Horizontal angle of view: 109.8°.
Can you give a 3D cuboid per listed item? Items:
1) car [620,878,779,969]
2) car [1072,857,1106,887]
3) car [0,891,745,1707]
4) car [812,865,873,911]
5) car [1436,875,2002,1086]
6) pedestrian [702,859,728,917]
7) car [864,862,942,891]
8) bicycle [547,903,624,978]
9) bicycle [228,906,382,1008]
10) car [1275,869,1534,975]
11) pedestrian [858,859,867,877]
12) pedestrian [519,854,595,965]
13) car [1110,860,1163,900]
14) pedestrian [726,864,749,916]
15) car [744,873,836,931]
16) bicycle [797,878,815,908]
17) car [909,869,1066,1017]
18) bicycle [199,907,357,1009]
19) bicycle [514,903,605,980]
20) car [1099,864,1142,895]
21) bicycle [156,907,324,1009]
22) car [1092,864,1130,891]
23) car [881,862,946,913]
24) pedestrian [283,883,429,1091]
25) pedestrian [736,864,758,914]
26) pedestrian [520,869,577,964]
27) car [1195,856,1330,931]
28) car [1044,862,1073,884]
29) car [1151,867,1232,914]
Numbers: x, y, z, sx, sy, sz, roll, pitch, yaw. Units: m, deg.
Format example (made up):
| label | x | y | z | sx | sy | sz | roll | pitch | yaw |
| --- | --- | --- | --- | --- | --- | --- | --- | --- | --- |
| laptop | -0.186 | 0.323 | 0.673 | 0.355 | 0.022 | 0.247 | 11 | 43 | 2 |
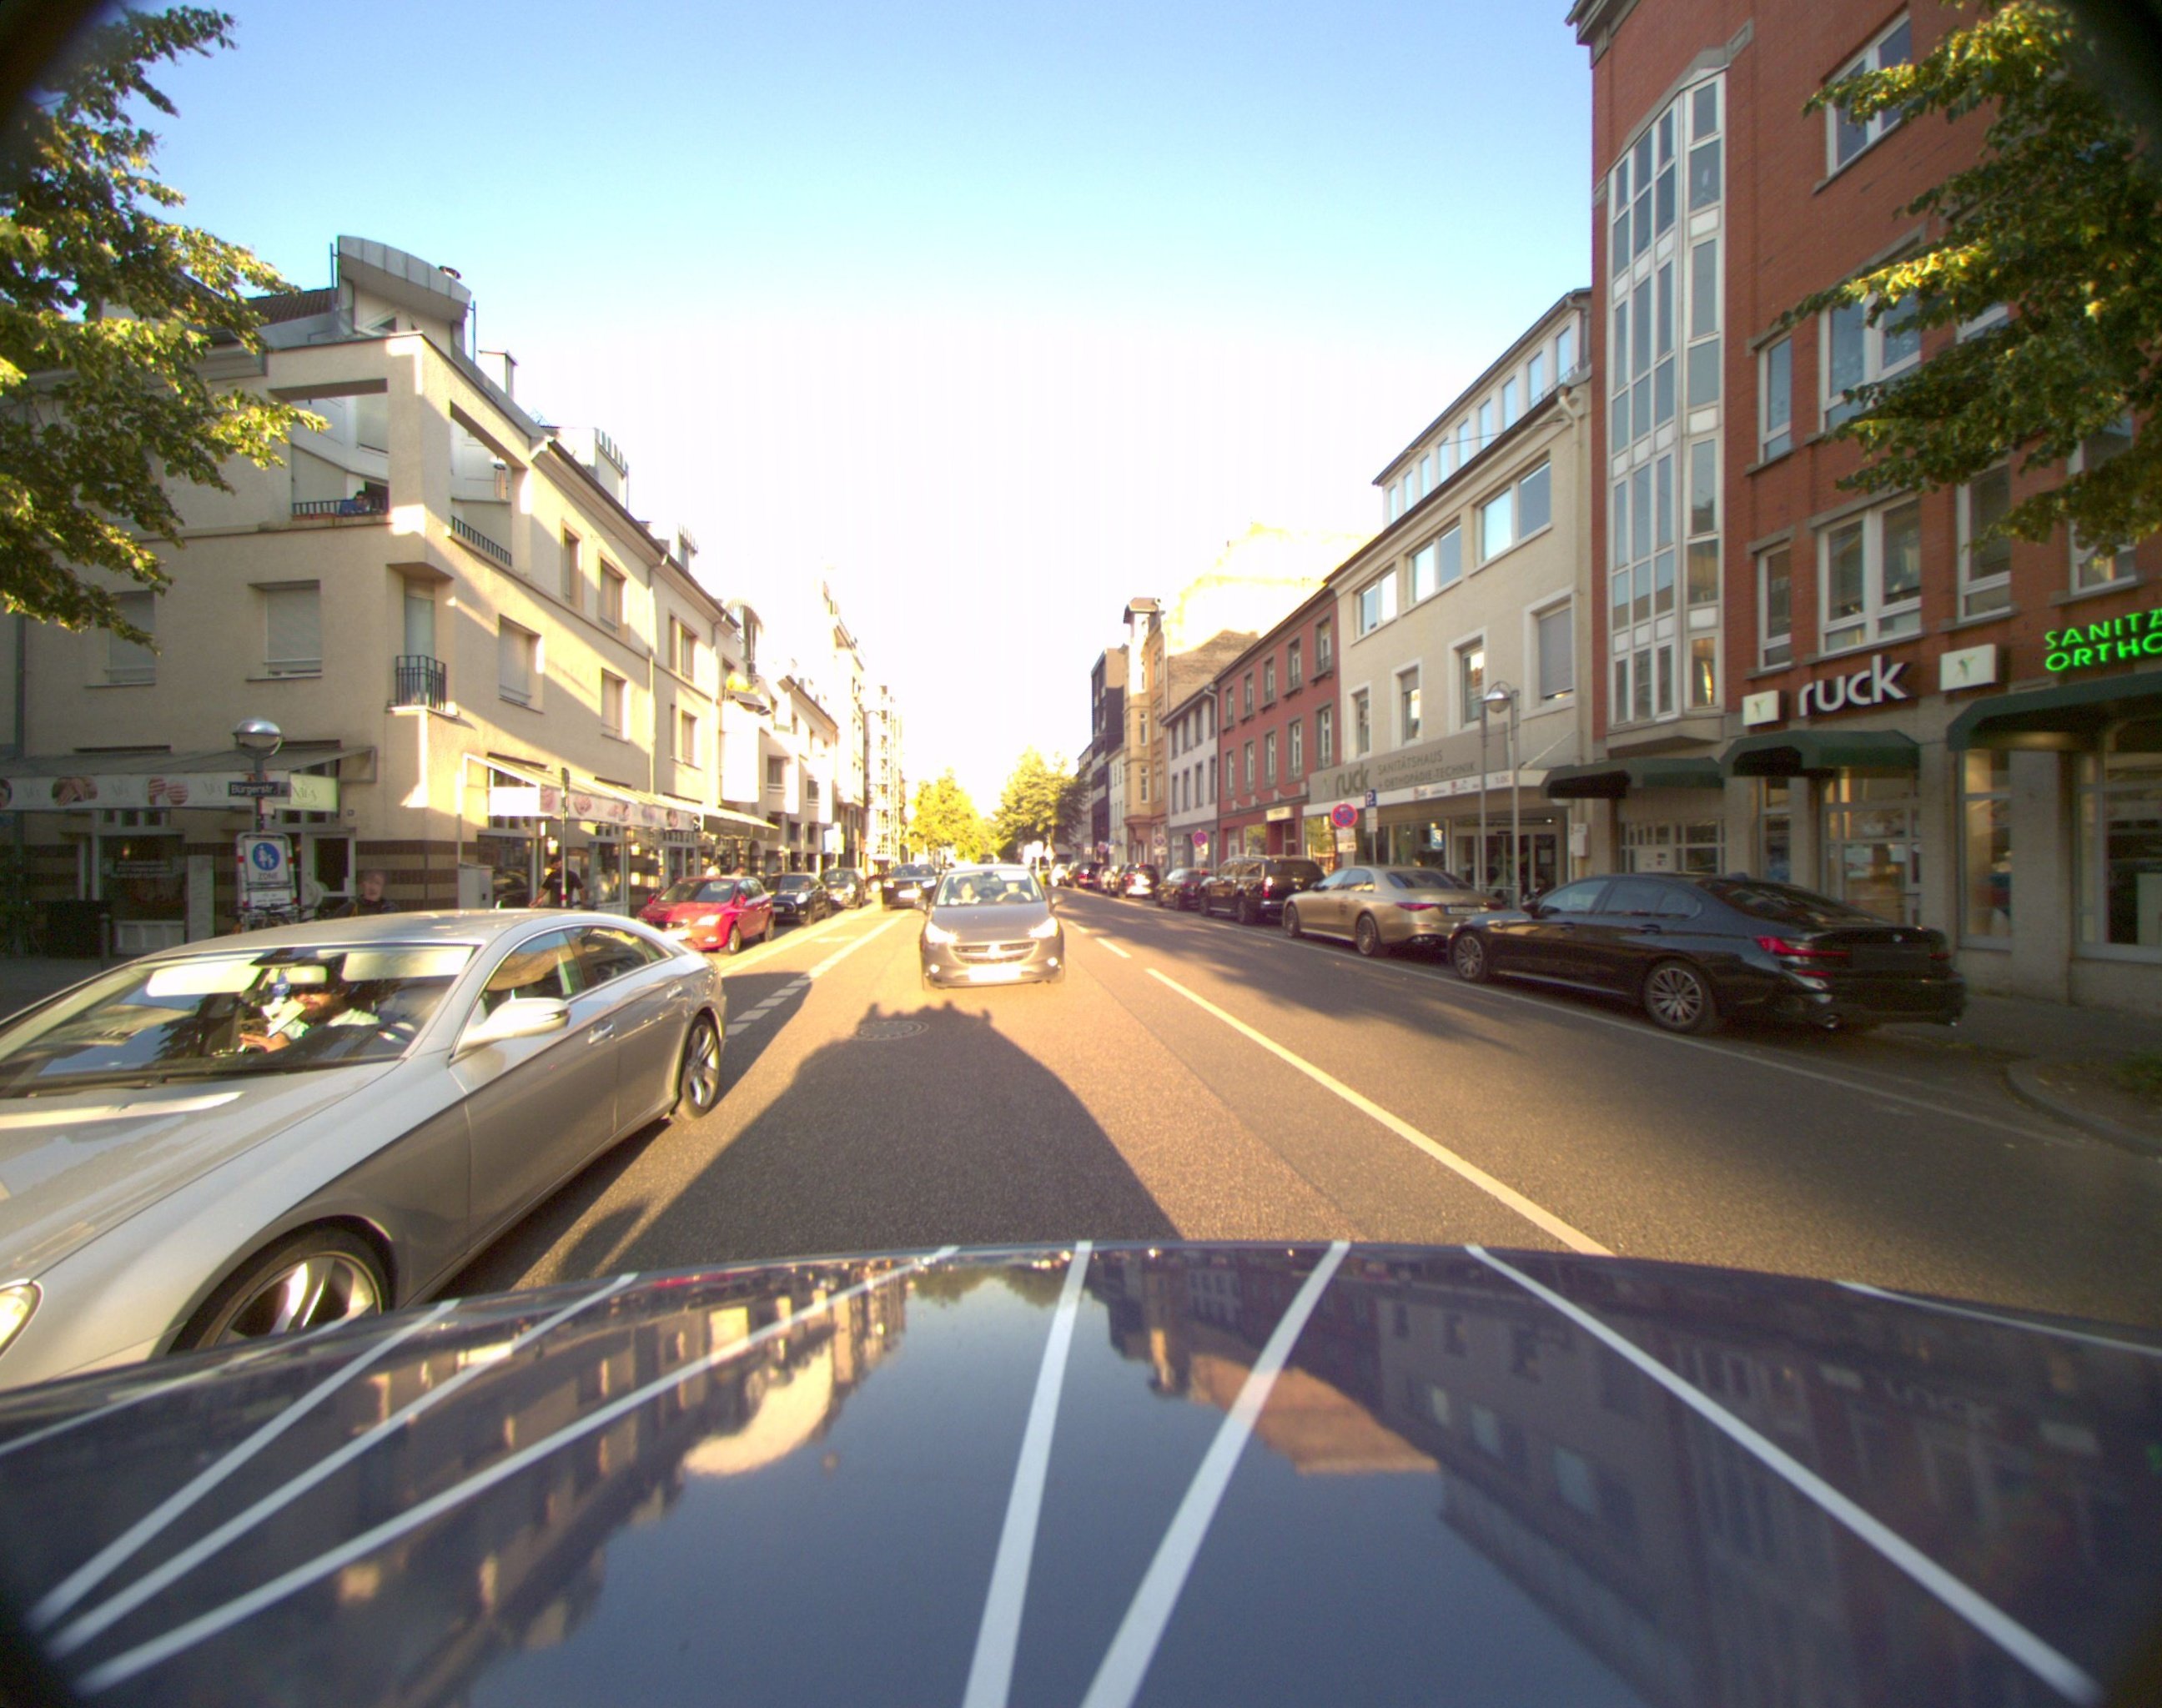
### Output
| label | x | y | z | sx | sy | sz | roll | pitch | yaw |
| --- | --- | --- | --- | --- | --- | --- | --- | --- | --- |
| car | -7.203 | 1.229 | 14.765 | 1.594 | 1.425 | 3.923 | 0 | 0 | -8 |
| car | 0.475 | 1.131 | 47.893 | 1.674 | 1.763 | 3.563 | 2 | -1 | -6 |
| car | -3.026 | 1.036 | 3.137 | 1.748 | 1.393 | 4.635 | -1 | 2 | -8 |
| car | -9.084 | 1.251 | 29.213 | 1.622 | 1.583 | 3.923 | -1 | 0 | -8 |
| car | 5.872 | 1.018 | 7.939 | 1.726 | 1.464 | 4.538 | 2 | -1 | -7 |
| pedestrian | -11.224 | 1.039 | 23.309 | 0.545 | 1.748 | 0.502 | 2 | 0 | -8 |
| car | -10.700 | 1.334 | 45.769 | 4.293 | 1.665 | 1.736 | 0 | 0 | -2 |
| bicycle | -8.052 | 1.369 | 12.414 | 0.315 | 1.040 | 1.664 | 0 | 0 | -5 |
| bicycle | -10.282 | 1.319 | 10.167 | 0.322 | 1.098 | 1.878 | -1 | 0 | -7 |
| car | 5.349 | 1.043 | 13.535 | 2.000 | 1.463 | 5.104 | 1 | -1 | -6 |
| pedestrian | -15.666 | 1.004 | 54.443 | 0.492 | 1.256 | 0.421 | -2 | 1 | -9 |
| pedestrian | -9.318 | 0.964 | 13.534 | 0.779 | 1.872 | 0.669 | -4 | 1 | -8 |
| car | 2.478 | 1.150 | 35.036 | 1.726 | 1.673 | 4.047 | 2 | -1 | -6 |
| pedestrian | -10.677 | 1.127 | 23.615 | 0.521 | 1.583 | 0.408 | 2 | 0 | -8 |
| car | -8.205 | 1.281 | 21.720 | 1.622 | 1.425 | 3.923 | 0 | 0 | -8 |
| bicycle | -10.632 | 1.512 | 29.409 | 0.296 | 1.079 | 1.462 | -1 | 0 | -7 |
| car | -1.239 | 0.988 | 10.013 | 1.623 | 1.465 | 3.686 | -2 | 0 | -8 |
| bicycle | -10.595 | 1.321 | 10.120 | 0.291 | 1.098 | 1.886 | -1 | 0 | -7 |
| bicycle | -8.397 | 1.374 | 12.315 | 0.315 | 1.040 | 1.881 | 0 | 0 | -5 |
| car | 2.035 | 1.314 | 40.118 | 1.690 | 1.461 | 3.689 | 2 | -1 | -6 |
| bicycle | -11.067 | 1.316 | 10.092 | 0.322 | 1.098 | 1.878 | -1 | 0 | -7 |
| car | 1.722 | 1.317 | 44.150 | 1.674 | 1.448 | 3.563 | 2 | -1 | -6 |
| car | -5.972 | 1.130 | 27.496 | 1.891 | 1.626 | 4.224 | -2 | 0 | -8 |
| pedestrian | -6.411 | 1.111 | 6.727 | 0.795 | 1.666 | 0.704 | 2 | 1 | 28 |
| pedestrian | -12.343 | 1.293 | 28.091 | 0.576 | 1.789 | 0.450 | -2 | 1 | -7 |
| pedestrian | -9.998 | 1.152 | 14.280 | 0.631 | 1.739 | 0.669 | 0 | 0 | -8 |
| car | 4.667 | 0.960 | 20.348 | 1.726 | 1.768 | 4.935 | 1 | -1 | -9 |
| car | -1.644 | 1.328 | 54.871 | 1.674 | 1.512 | 3.562 | 1 | 0 | -8 |
| car | 3.772 | 1.216 | 26.543 | 1.707 | 1.429 | 4.011 | 2 | -1 | -8 |
